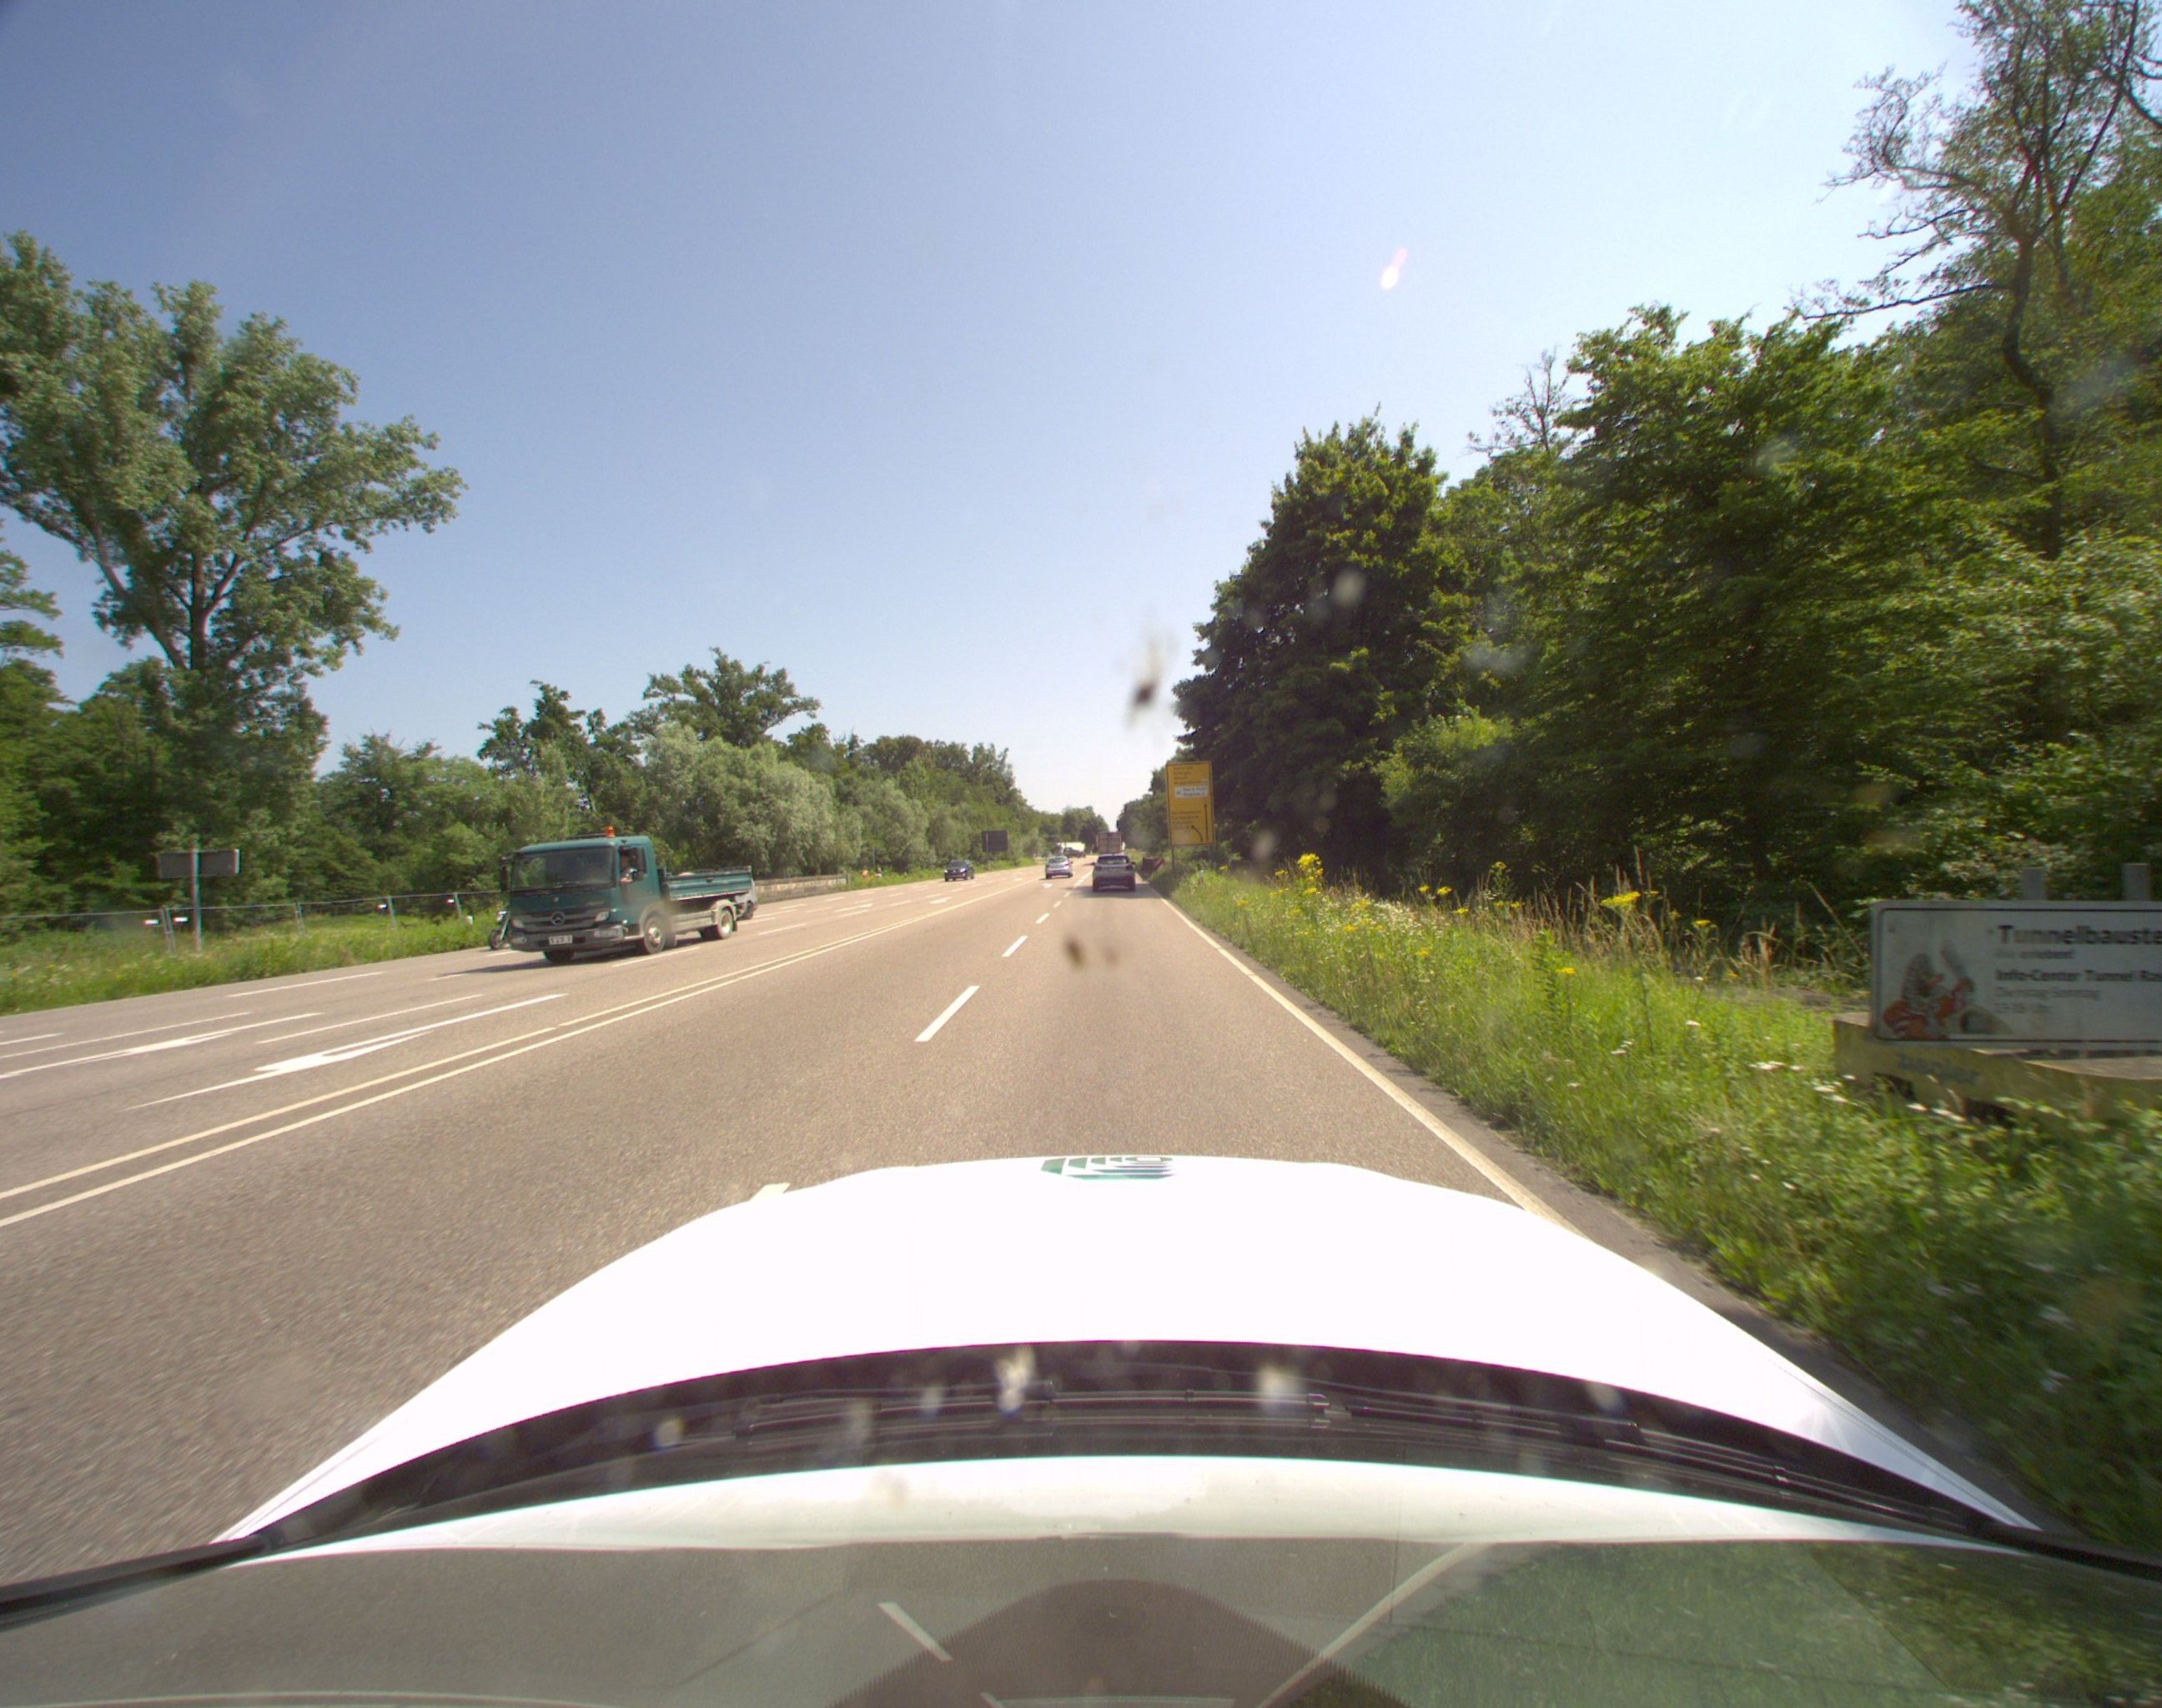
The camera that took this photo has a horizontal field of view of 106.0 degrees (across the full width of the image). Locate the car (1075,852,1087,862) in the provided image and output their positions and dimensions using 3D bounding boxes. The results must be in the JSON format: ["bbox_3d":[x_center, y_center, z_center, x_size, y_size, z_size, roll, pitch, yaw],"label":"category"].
[{"bbox_3d":[0.019,0.737,188.426,1.993,2.013,4.540,-3,0,-9],"label":"car"}]

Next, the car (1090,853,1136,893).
[{"bbox_3d":[1.396,0.747,34.673,1.760,1.535,4.003,-2,0,3],"label":"car"}]

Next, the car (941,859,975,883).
[{"bbox_3d":[-10.707,1.452,71.332,1.986,1.881,4.962,-4,0,2],"label":"car"}]

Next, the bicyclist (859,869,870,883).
[{"bbox_3d":[-20.127,2.031,75.693,0.752,1.195,0.594,-4,0,12],"label":"bicyclist"}]

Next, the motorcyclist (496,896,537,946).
[{"bbox_3d":[-16.416,1.928,23.685,0.575,1.353,0.754,-4,-1,0],"label":"motorcyclist"}]

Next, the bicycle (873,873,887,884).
[{"bbox_3d":[-19.542,2.406,79.130,0.600,1.006,1.561,-4,-1,13],"label":"bicycle"}]

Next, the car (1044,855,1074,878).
[{"bbox_3d":[-1.452,0.777,54.266,1.659,1.430,3.831,-2,0,3],"label":"car"}]

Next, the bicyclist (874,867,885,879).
[{"bbox_3d":[-19.566,1.848,79.163,0.730,1.195,0.594,-4,-1,13],"label":"bicyclist"}]

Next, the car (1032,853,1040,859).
[{"bbox_3d":[-13.282,0.621,239.828,1.995,1.585,3.984,-1,0,-11],"label":"car"}]

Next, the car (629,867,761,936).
[{"bbox_3d":[-13.440,1.580,28.750,1.985,1.966,4.825,-5,0,3],"label":"car"}]

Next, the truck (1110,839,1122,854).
[{"bbox_3d":[10.577,-2.171,249.093,3.484,4.187,10.788,-2,0,2],"label":"truck"}]

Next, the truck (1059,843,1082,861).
[{"bbox_3d":[-2.651,-0.473,204.238,3.651,4.105,9.464,-1,0,-14],"label":"truck"}]

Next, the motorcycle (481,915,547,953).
[{"bbox_3d":[-16.393,2.308,23.602,0.515,0.893,1.910,-4,0,0],"label":"motorcycle"}]

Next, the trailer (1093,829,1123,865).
[{"bbox_3d":[3.326,-0.779,98.115,3.369,3.988,10.811,-2,0,3],"label":"trailer"}]

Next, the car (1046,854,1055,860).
[{"bbox_3d":[-8.489,0.712,227.678,1.995,1.585,3.984,-1,0,-11],"label":"car"}]

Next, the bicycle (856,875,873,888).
[{"bbox_3d":[-20.093,2.544,75.659,0.671,1.005,1.806,-4,0,12],"label":"bicycle"}]

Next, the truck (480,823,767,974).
[{"bbox_3d":[-9.947,0.833,18.716,2.444,2.656,6.496,-5,0,3],"label":"truck"}]
